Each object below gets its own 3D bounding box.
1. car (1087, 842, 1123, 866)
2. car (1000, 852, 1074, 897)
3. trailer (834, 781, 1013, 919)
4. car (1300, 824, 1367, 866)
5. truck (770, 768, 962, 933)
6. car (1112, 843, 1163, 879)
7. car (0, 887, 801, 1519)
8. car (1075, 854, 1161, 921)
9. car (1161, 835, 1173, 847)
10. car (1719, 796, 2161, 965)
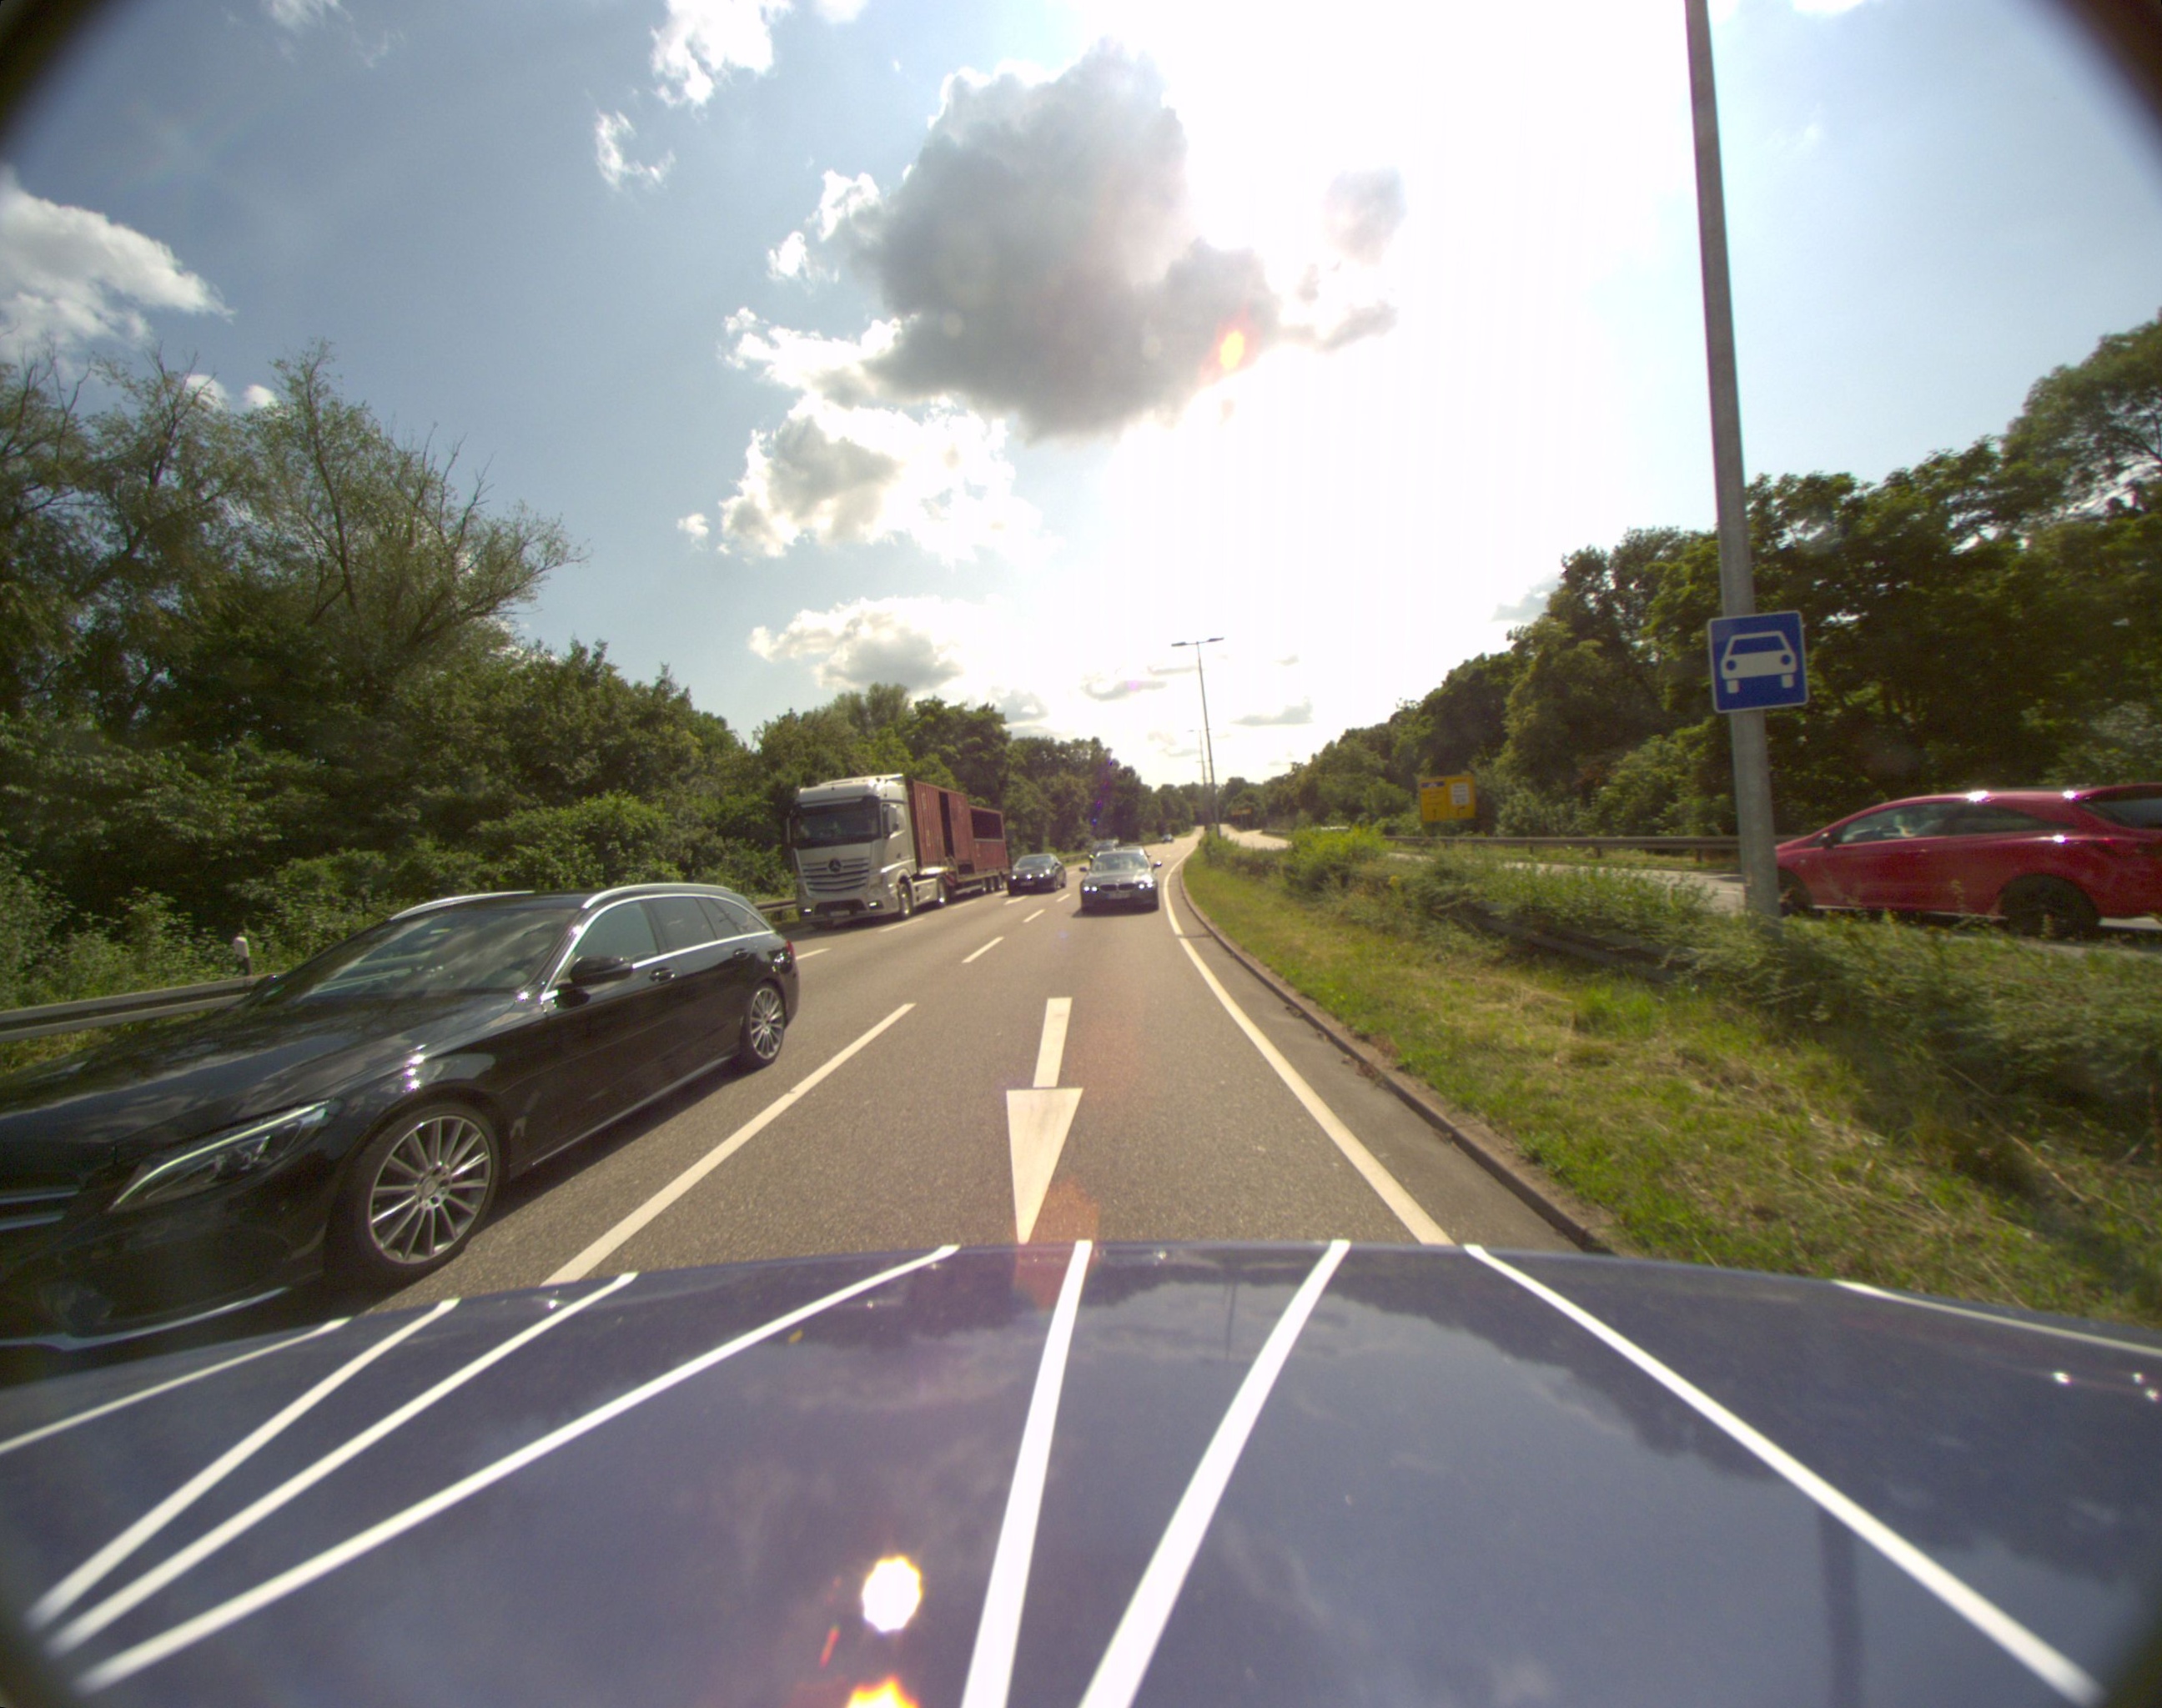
[{"bbox_3d":[1.712,-0.032,52.426,1.857,1.403,4.002,-4,0,9],"label":"car"},{"bbox_3d":[-1.581,0.733,28.820,1.857,1.403,4.002,-4,0,9],"label":"car"},{"bbox_3d":[-5.169,-0.179,28.340,2.777,3.827,12.324,-5,0,5],"label":"trailer"},{"bbox_3d":[10.559,-0.386,32.096,1.714,1.577,4.283,-2,0,6],"label":"car"},{"bbox_3d":[-5.835,-0.106,22.091,2.775,3.823,6.822,-5,0,5],"label":"truck"},{"bbox_3d":[2.649,0.275,34.850,1.857,1.403,4.002,-4,0,9],"label":"car"},{"bbox_3d":[-3.335,1.079,4.209,1.795,1.427,4.369,-4,1,1],"label":"car"},{"bbox_3d":[0.988,0.742,18.860,1.857,1.354,4.001,-3,0,5],"label":"car"},{"bbox_3d":[15.792,-2.452,138.939,1.976,2.002,4.000,-3,1,5],"label":"car"},{"bbox_3d":[9.682,0.181,8.476,1.585,1.424,3.998,-3,0,-3],"label":"car"}]
